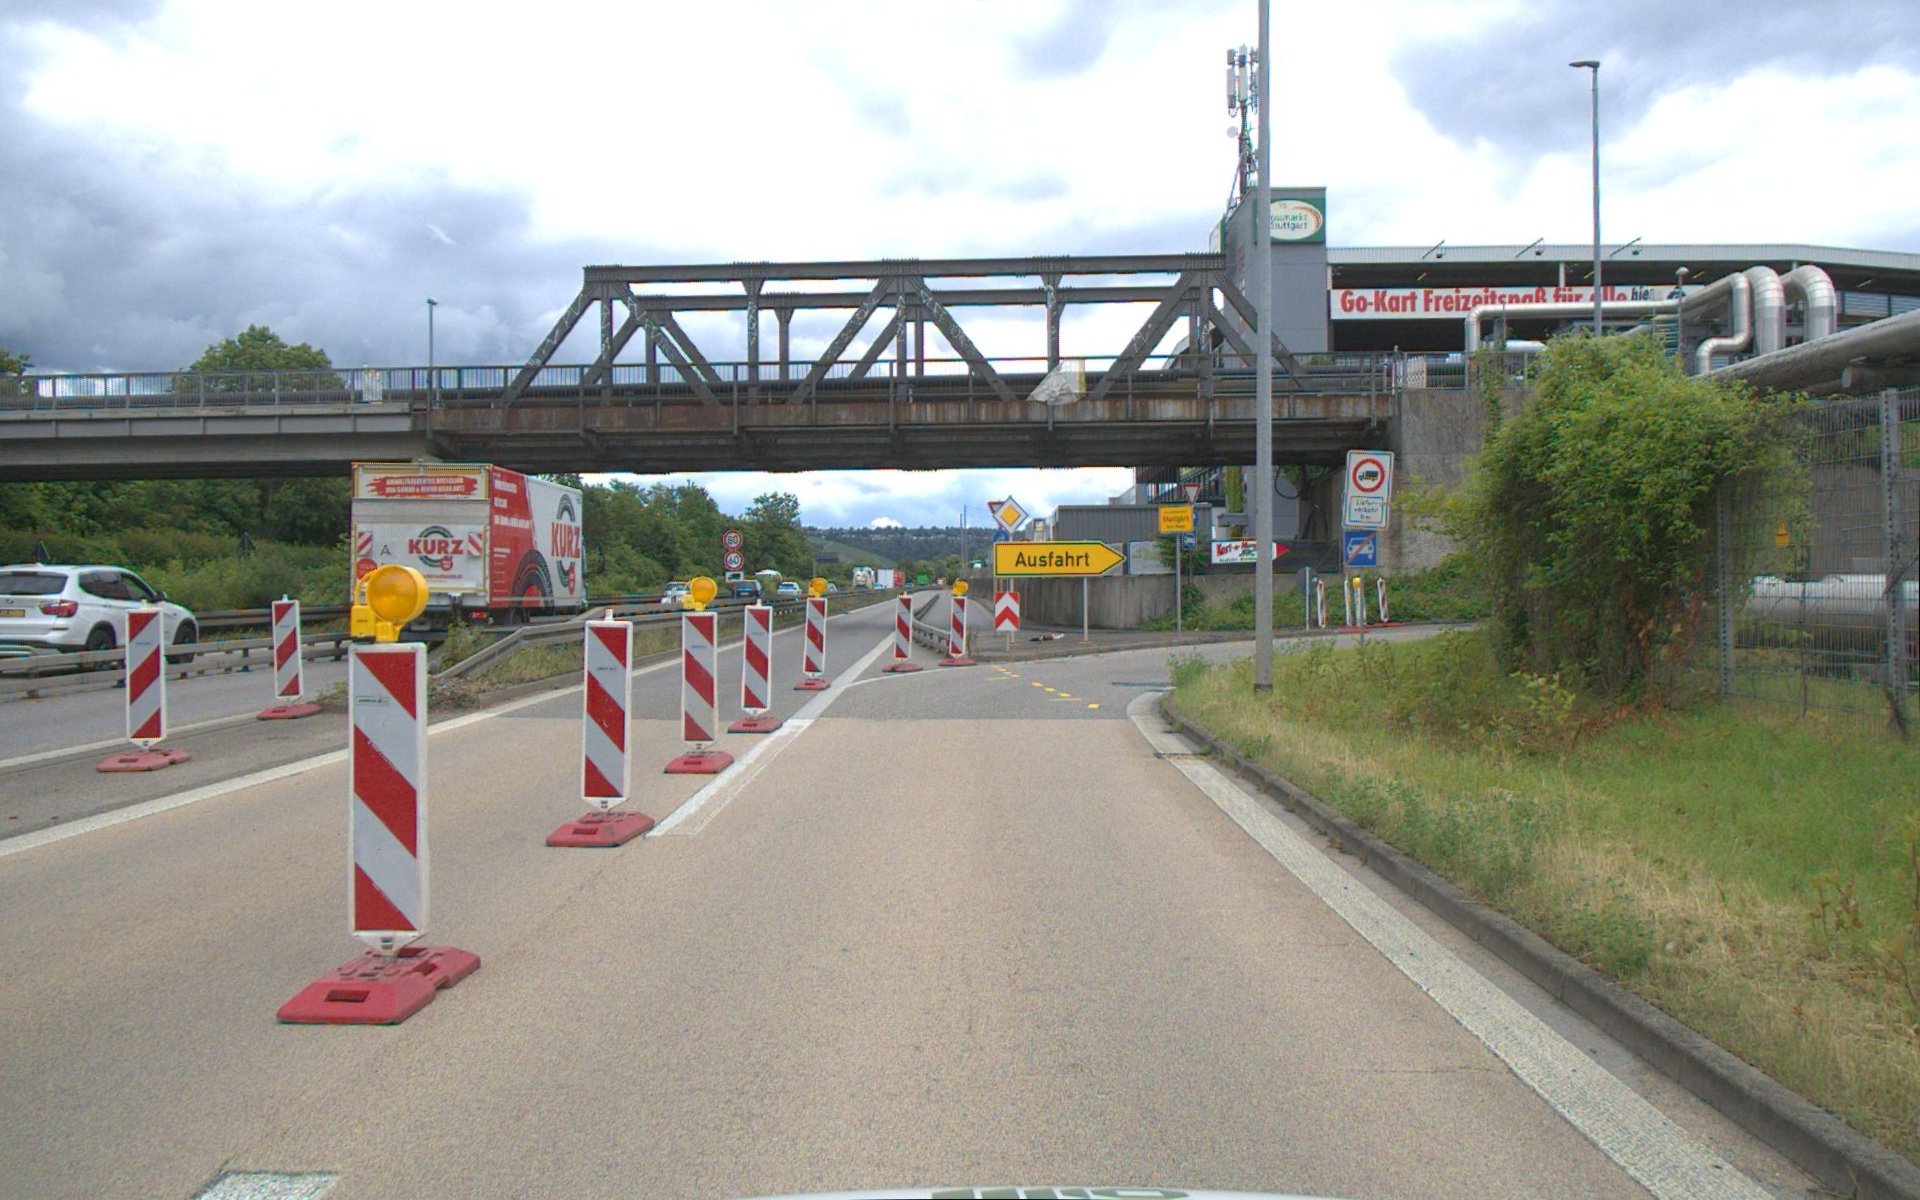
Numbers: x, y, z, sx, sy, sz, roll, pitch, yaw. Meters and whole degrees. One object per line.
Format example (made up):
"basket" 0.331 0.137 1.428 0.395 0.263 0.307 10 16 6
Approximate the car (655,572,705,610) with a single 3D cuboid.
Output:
"car" -14.006 -0.460 82.927 1.954 1.790 3.998 -1 0 -3

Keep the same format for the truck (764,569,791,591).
"truck" -24.064 -2.630 218.159 2.444 2.896 7.256 1 0 3

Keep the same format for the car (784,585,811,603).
"car" -14.052 -0.536 143.376 1.933 1.438 4.599 -1 0 -1

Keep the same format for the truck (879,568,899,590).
"truck" -10.408 -3.105 242.723 2.626 3.195 6.132 1 0 0

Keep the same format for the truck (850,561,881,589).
"truck" -12.706 -3.351 223.090 3.644 3.709 7.728 0 1 0

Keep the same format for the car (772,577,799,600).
"car" -14.265 -0.989 135.350 1.953 1.847 3.999 0 1 -2

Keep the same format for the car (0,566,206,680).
"car" -13.885 0.326 26.403 1.816 1.669 4.290 0 0 -1

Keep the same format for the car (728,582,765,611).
"car" -13.909 -0.217 107.761 1.953 1.790 3.999 -1 0 -1

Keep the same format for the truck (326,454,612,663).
"truck" -9.771 -0.791 34.417 2.892 3.693 10.154 0 1 0

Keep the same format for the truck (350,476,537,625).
"truck" -13.718 -1.251 44.654 2.935 3.618 7.736 -1 0 -3

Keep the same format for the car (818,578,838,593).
"car" -13.998 -1.528 175.699 1.743 1.624 3.750 0 1 0
